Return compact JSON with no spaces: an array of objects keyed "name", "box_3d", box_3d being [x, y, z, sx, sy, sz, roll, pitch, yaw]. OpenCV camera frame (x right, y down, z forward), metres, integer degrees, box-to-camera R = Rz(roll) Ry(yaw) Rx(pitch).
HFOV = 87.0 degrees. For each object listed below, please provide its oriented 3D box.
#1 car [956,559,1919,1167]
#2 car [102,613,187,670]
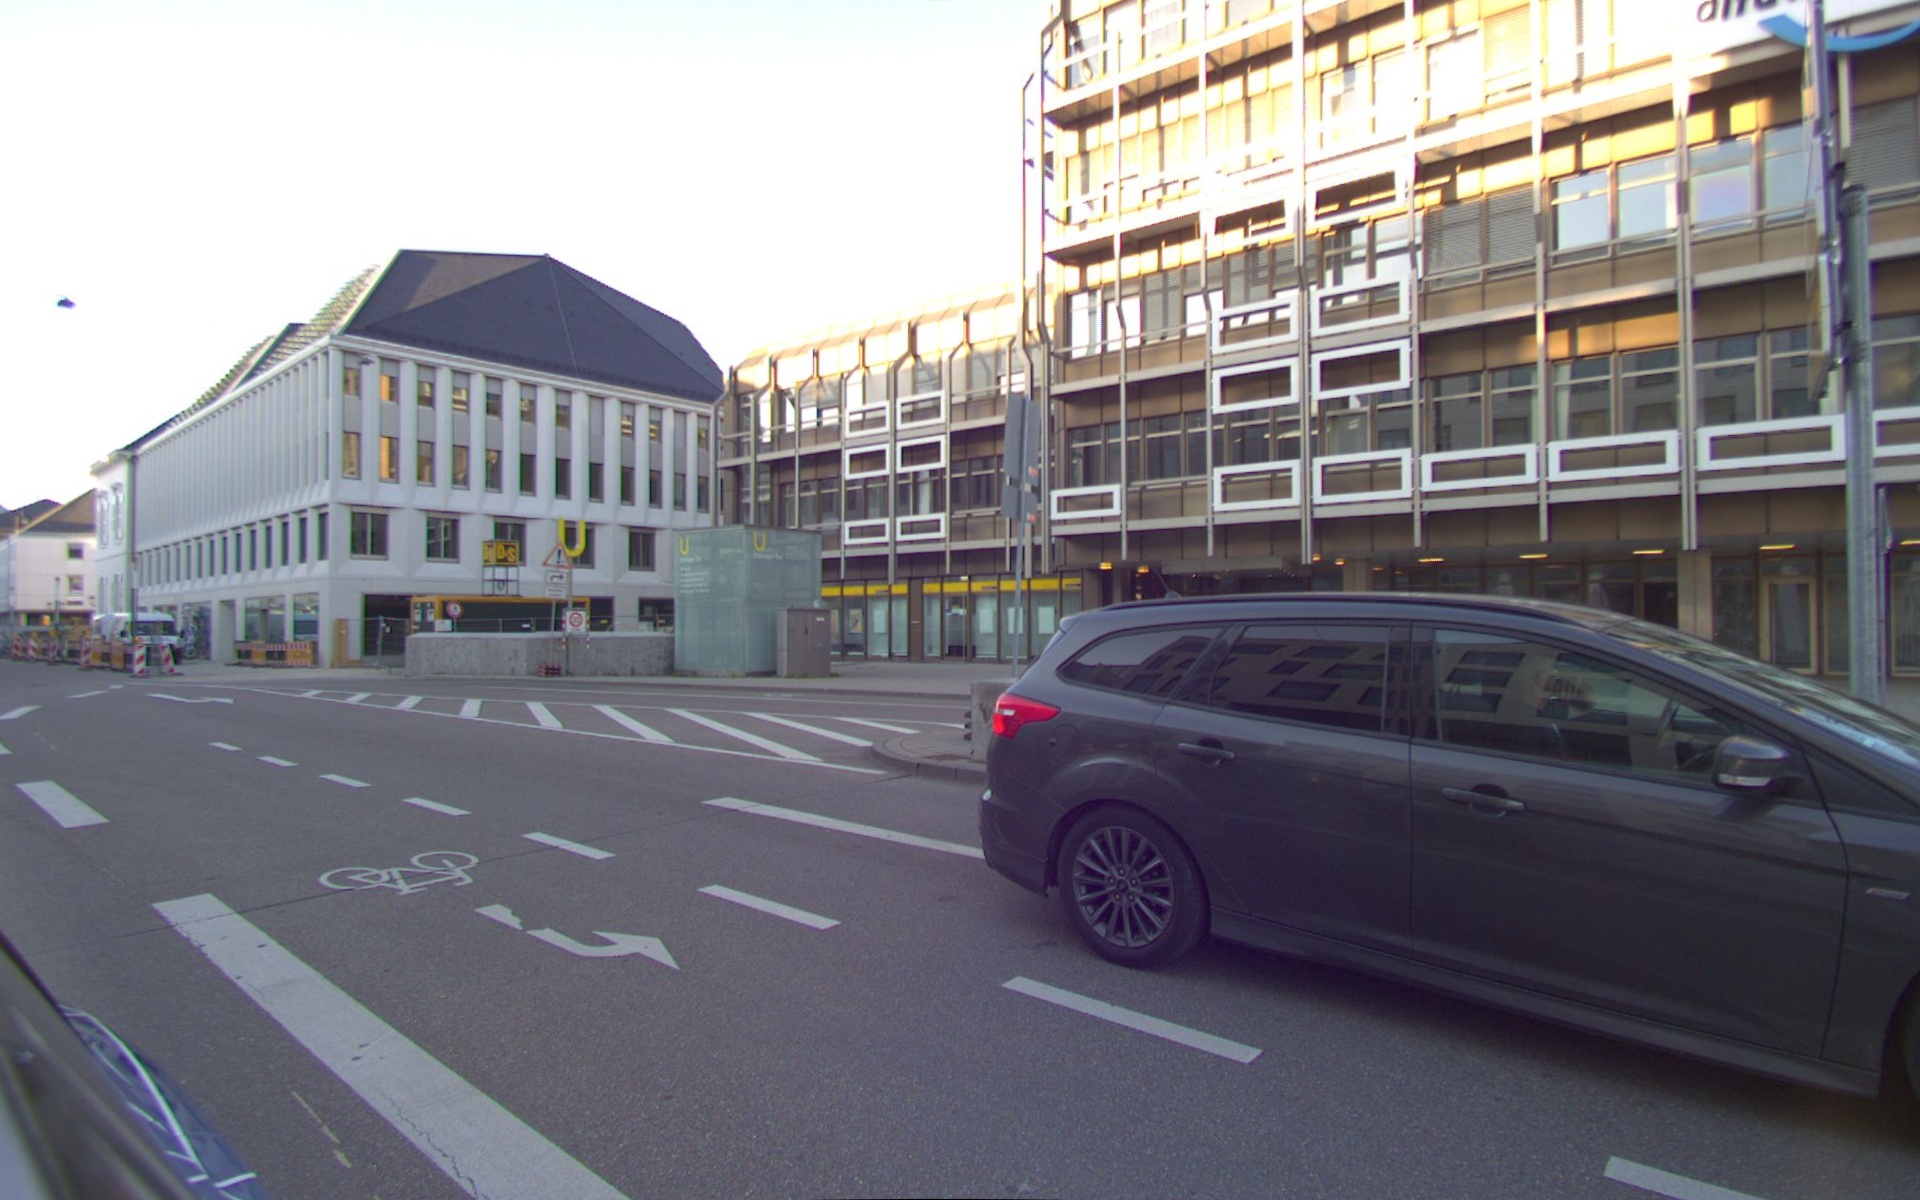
[{"name":"car","box_3d":[2.219,0.652,3.682,4.377,1.473,1.740,-2,-1,40]},{"name":"car","box_3d":[-38.838,1.957,48.160,6.047,2.575,2.114,-2,-3,41]}]
